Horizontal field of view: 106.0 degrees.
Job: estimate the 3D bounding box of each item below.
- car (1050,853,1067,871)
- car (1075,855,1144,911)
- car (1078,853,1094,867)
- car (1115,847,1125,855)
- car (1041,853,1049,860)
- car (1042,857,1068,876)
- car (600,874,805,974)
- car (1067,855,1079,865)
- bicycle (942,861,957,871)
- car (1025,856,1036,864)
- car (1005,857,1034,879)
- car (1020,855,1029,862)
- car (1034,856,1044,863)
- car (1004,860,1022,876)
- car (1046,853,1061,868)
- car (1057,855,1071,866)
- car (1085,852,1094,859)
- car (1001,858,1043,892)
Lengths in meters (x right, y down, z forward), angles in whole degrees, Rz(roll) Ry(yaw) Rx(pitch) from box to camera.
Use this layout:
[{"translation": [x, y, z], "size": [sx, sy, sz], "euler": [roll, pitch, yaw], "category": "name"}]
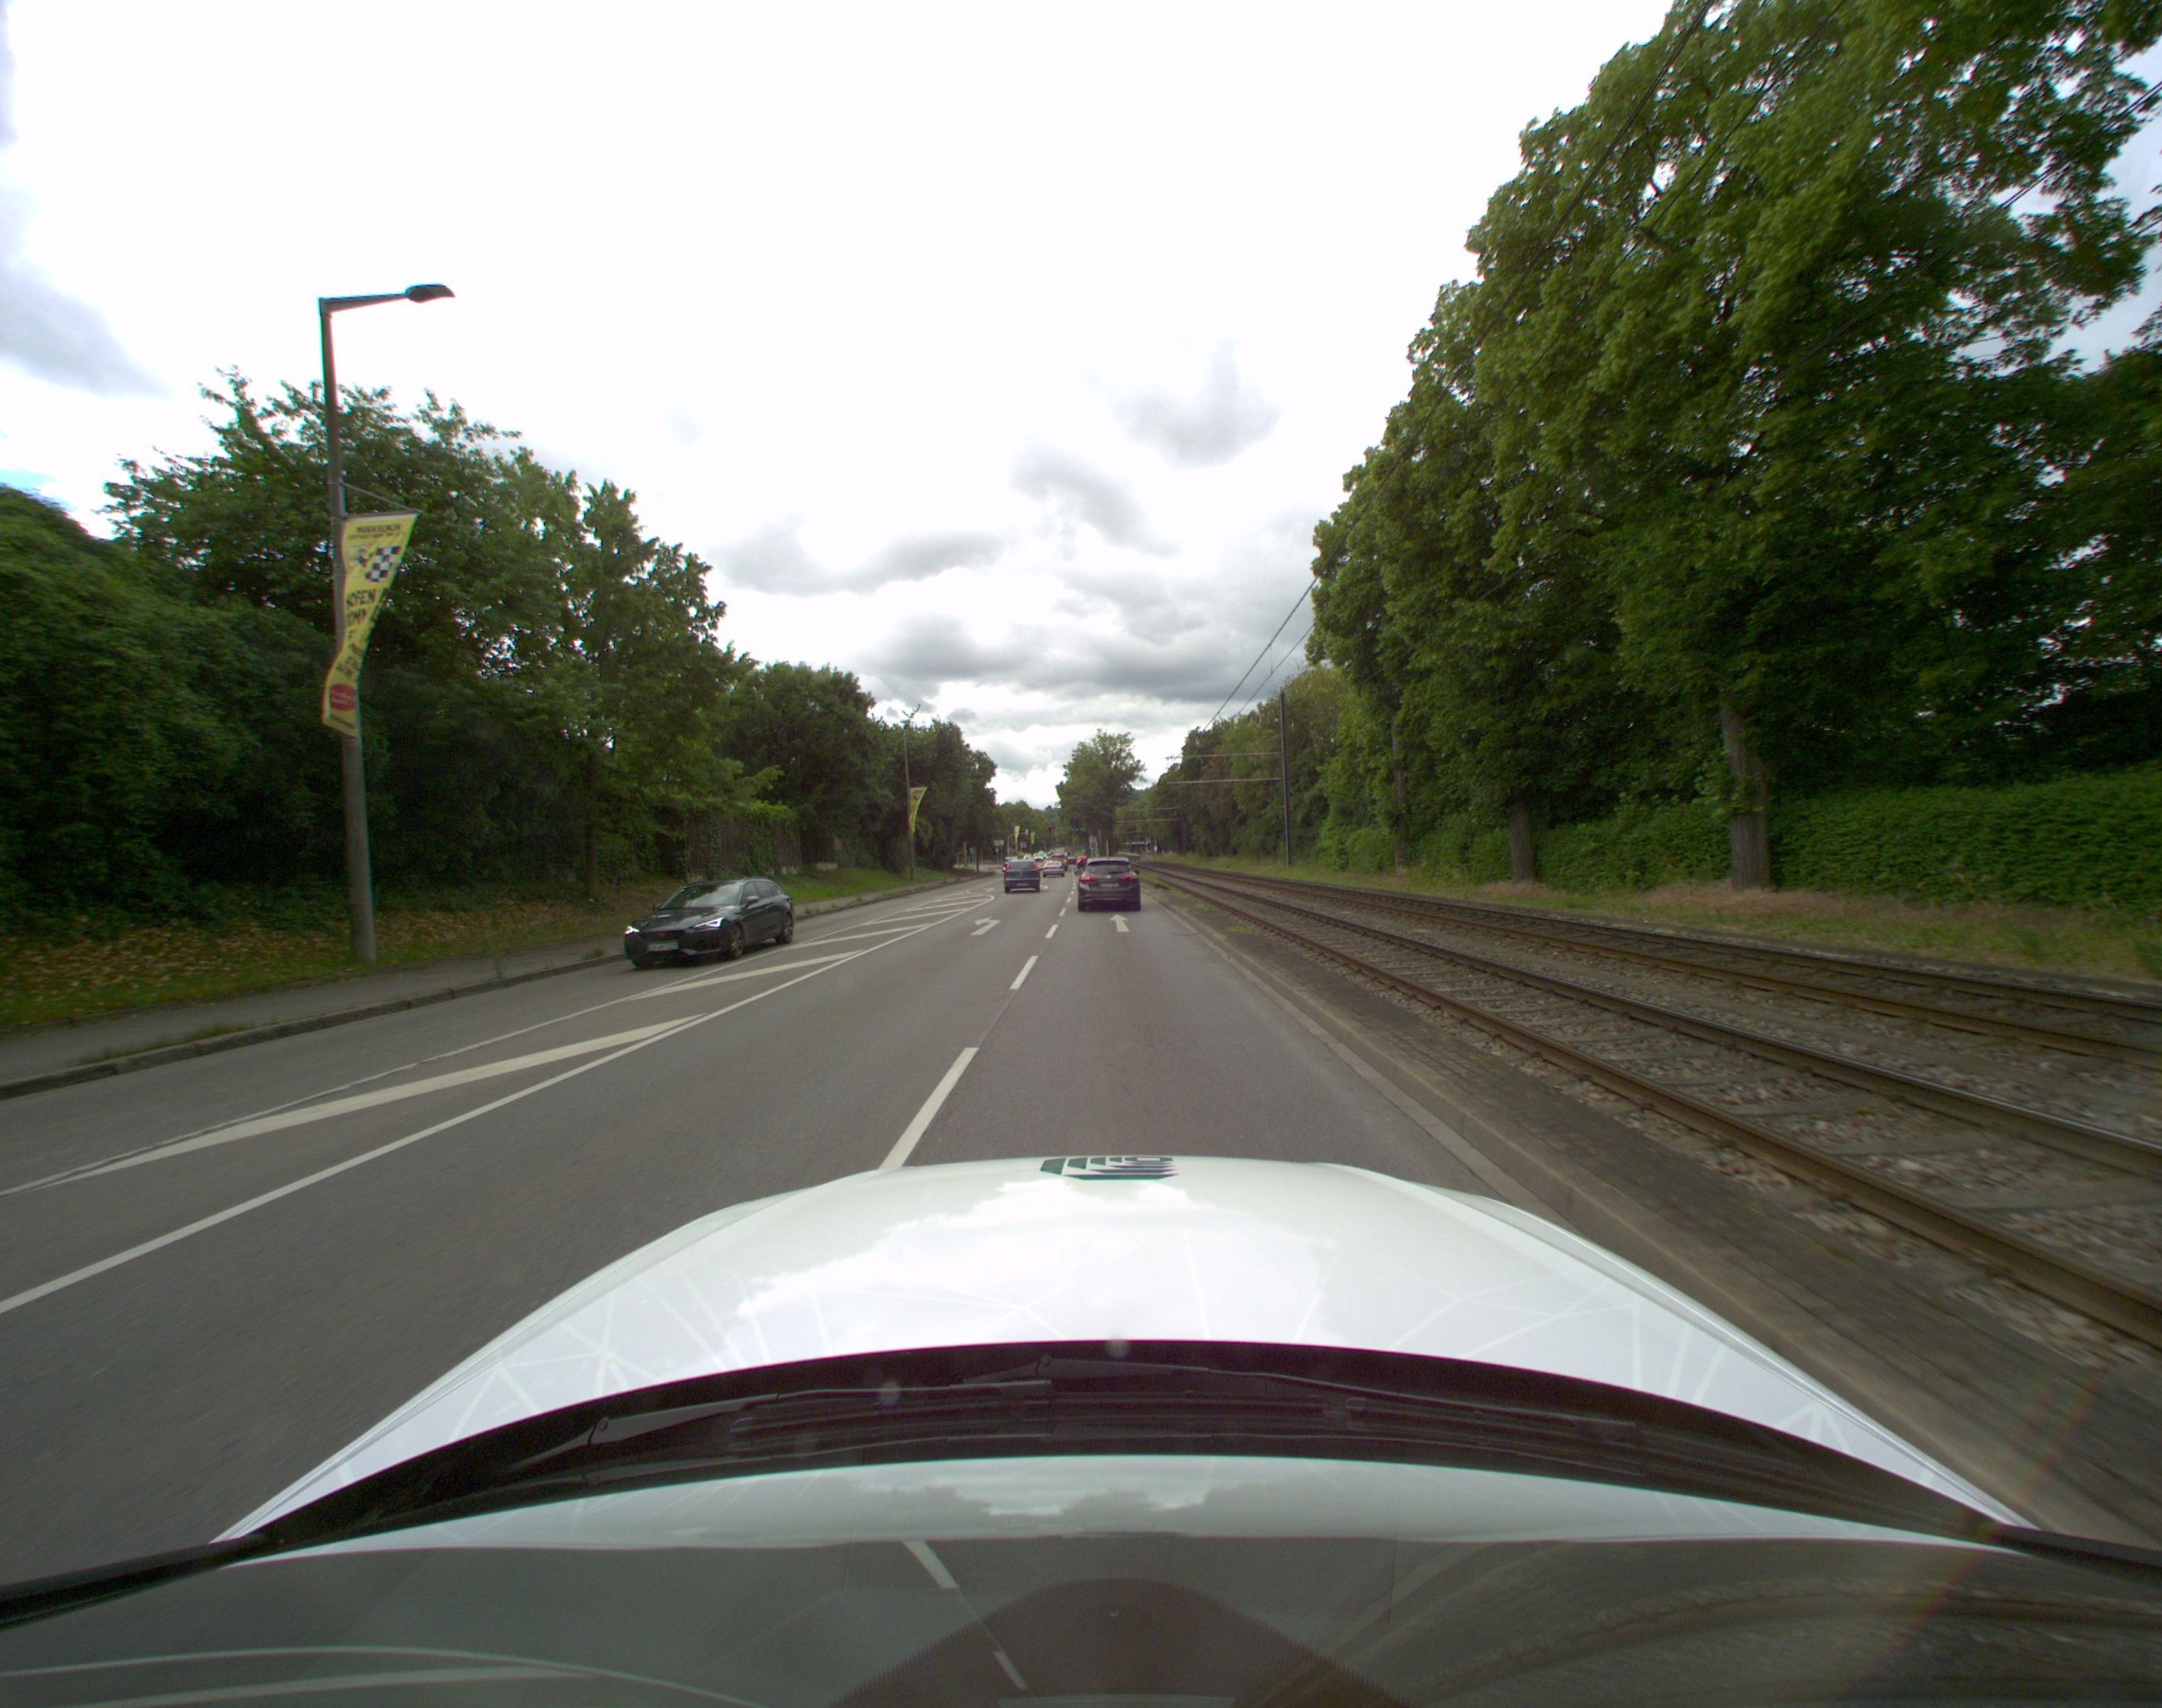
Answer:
[{"translation": [-2.513, 0.861, 90.140], "size": [1.710, 1.864, 3.999], "euler": [-2, -1, 0], "category": "car"}, {"translation": [0.859, 0.792, 24.146], "size": [1.843, 1.493, 4.003], "euler": [-1, 0, 2], "category": "car"}, {"translation": [0.621, 0.730, 98.541], "size": [1.708, 1.550, 4.002], "euler": [-2, -1, 2], "category": "car"}, {"translation": [7.812, -0.593, 164.001], "size": [1.709, 1.663, 3.707], "euler": [-2, -1, 0], "category": "car"}, {"translation": [-9.461, 0.655, 212.755], "size": [1.708, 1.550, 4.002], "euler": [-2, -1, 2], "category": "car"}, {"translation": [-2.079, 0.977, 66.072], "size": [1.708, 1.435, 4.002], "euler": [-2, -1, 2], "category": "car"}, {"translation": [-6.948, 1.199, 15.550], "size": [1.836, 1.375, 4.445], "euler": [-4, 0, -2], "category": "car"}, {"translation": [-1.269, 1.060, 135.464], "size": [1.708, 1.550, 4.002], "euler": [-2, -1, 2], "category": "car"}, {"translation": [-14.484, 1.307, 89.723], "size": [0.494, 1.107, 1.812], "euler": [-2, 0, 32], "category": "bicycle"}, {"translation": [-9.958, 1.122, 159.449], "size": [1.708, 1.550, 4.002], "euler": [-2, -1, 2], "category": "car"}, {"translation": [-4.338, 0.987, 58.345], "size": [1.709, 1.435, 4.000], "euler": [-2, -1, 0], "category": "car"}, {"translation": [-13.411, 0.997, 194.222], "size": [1.708, 1.550, 4.002], "euler": [-2, -1, 2], "category": "car"}, {"translation": [-9.253, 1.223, 178.632], "size": [1.708, 1.550, 4.002], "euler": [-2, -1, 2], "category": "car"}, {"translation": [-8.011, 1.627, 96.401], "size": [1.709, 1.760, 4.000], "euler": [-2, -1, 0], "category": "car"}, {"translation": [-3.614, 0.843, 108.043], "size": [1.708, 1.864, 4.002], "euler": [-2, -1, 2], "category": "car"}, {"translation": [-2.476, 0.973, 118.274], "size": [1.788, 1.510, 4.001], "euler": [-2, 0, 1], "category": "car"}, {"translation": [1.897, 0.321, 175.496], "size": [1.708, 1.550, 4.002], "euler": [-2, -1, 2], "category": "car"}, {"translation": [-2.671, 0.932, 37.663], "size": [1.695, 1.443, 3.997], "euler": [-2, 0, -2], "category": "car"}]
